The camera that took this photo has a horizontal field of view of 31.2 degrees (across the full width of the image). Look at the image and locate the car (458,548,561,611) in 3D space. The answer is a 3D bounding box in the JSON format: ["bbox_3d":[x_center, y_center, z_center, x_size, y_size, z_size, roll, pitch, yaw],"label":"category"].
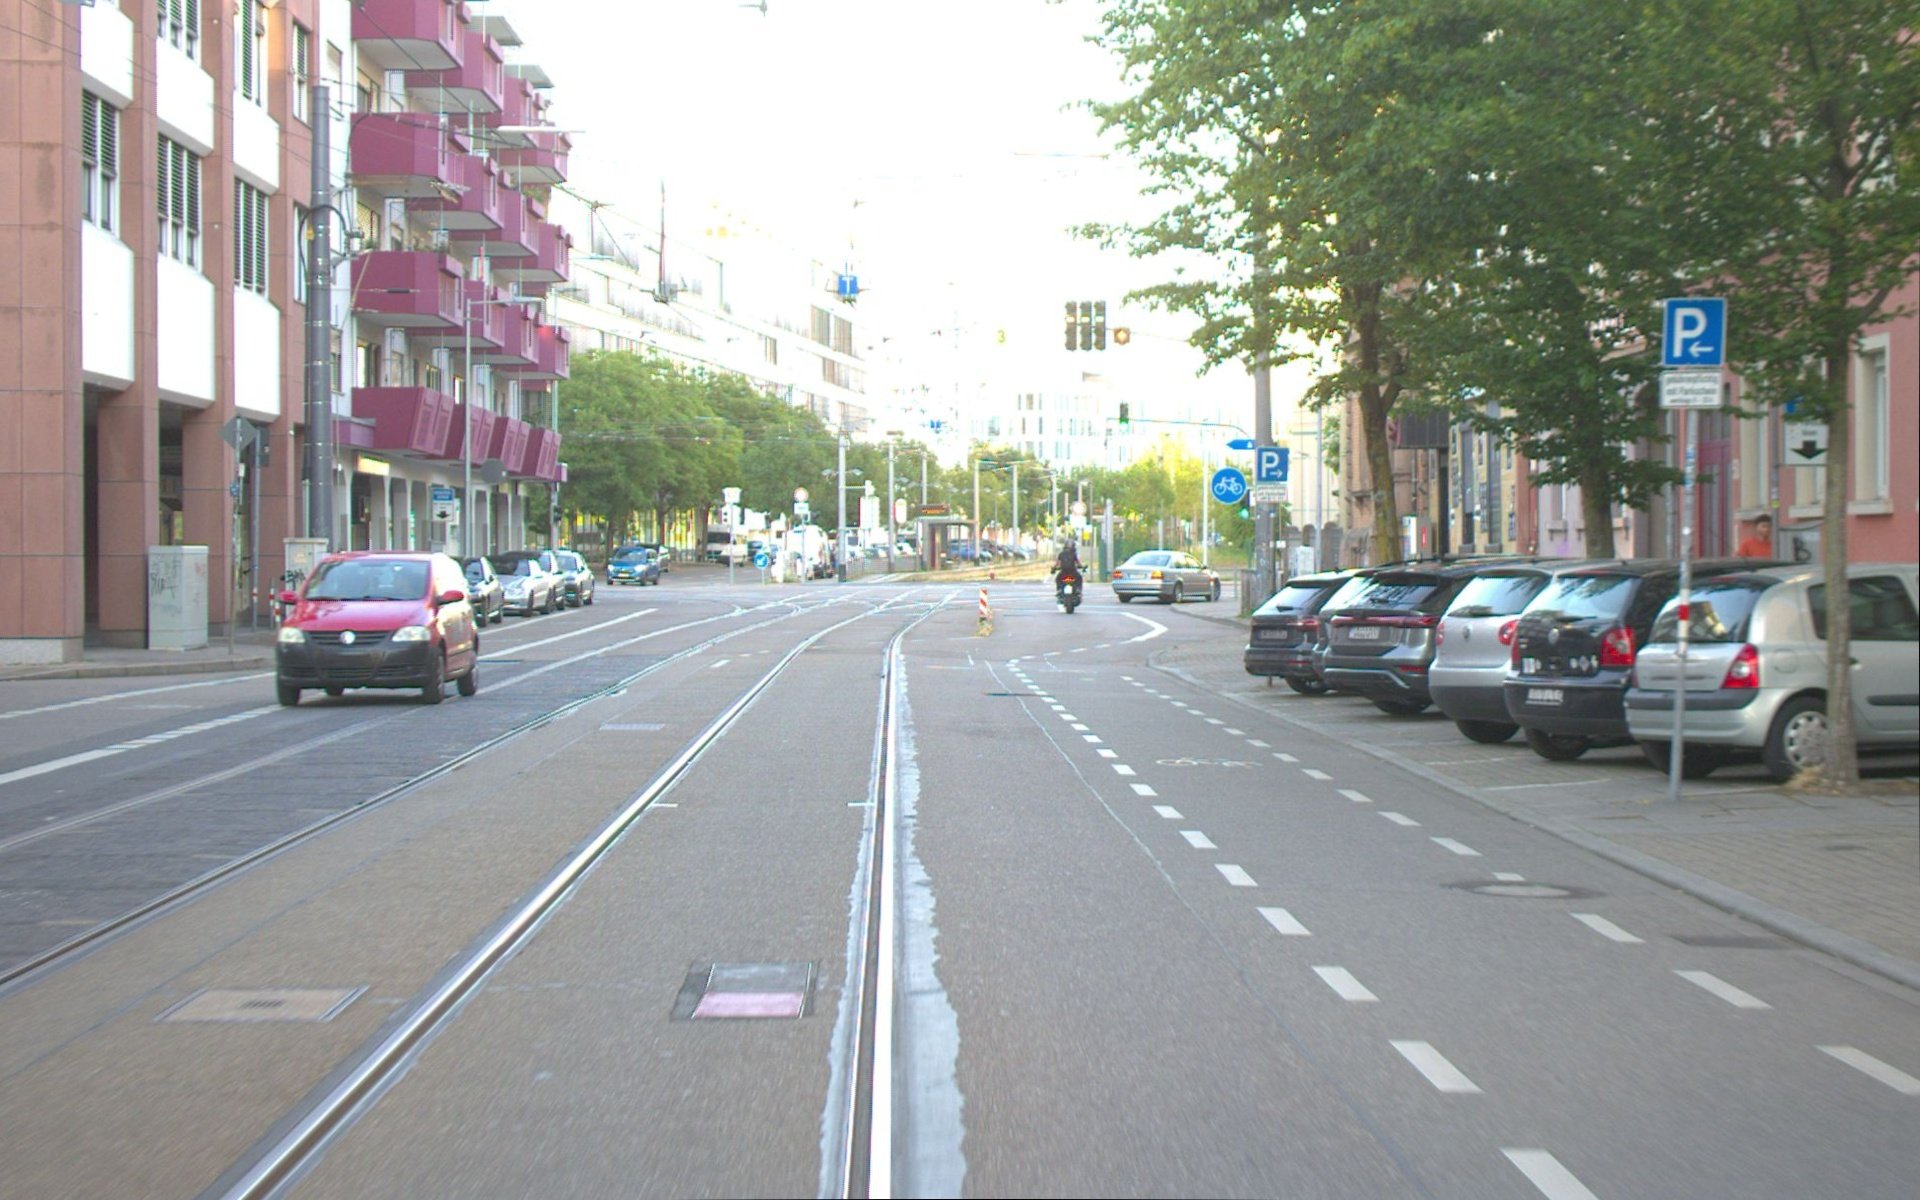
[{"bbox_3d":[-10.711,-0.504,81.977,1.691,1.409,4.677,2,1,1],"label":"car"}]

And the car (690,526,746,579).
[{"bbox_3d":[-14.535,-2.882,206.820,2.202,3.141,6.141,0,1,7],"label":"car"}]

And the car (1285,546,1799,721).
[{"bbox_3d":[5.577,0.277,32.969,4.443,1.511,2.064,-2,1,-24],"label":"car"}]

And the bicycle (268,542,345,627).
[{"bbox_3d":[-10.838,-0.277,57.068,0.609,1.373,2.258,0,1,7],"label":"bicycle"}]

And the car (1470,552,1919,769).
[{"bbox_3d":[5.692,0.396,25.112,3.554,1.424,1.669,-2,1,-26],"label":"car"}]

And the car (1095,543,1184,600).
[{"bbox_3d":[5.117,-0.816,97.540,1.718,1.550,4.201,1,1,14],"label":"car"}]

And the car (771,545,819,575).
[{"bbox_3d":[-7.880,-1.929,164.450,1.683,1.434,4.125,0,1,6],"label":"car"}]

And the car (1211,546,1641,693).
[{"bbox_3d":[5.294,0.192,38.930,4.604,1.452,1.711,-2,1,-25],"label":"car"}]

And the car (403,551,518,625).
[{"bbox_3d":[-10.742,-0.285,74.191,1.993,1.474,4.483,2,1,-3],"label":"car"}]

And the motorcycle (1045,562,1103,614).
[{"bbox_3d":[2.766,-0.299,83.611,0.828,1.236,2.492,0,1,-12],"label":"motorcycle"}]

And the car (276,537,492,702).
[{"bbox_3d":[-5.839,0.159,35.204,1.559,1.553,3.755,-1,1,0],"label":"car"}]

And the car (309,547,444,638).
[{"bbox_3d":[-10.494,-0.170,62.067,1.717,1.550,4.204,1,1,0],"label":"car"}]

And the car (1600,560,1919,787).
[{"bbox_3d":[6.238,0.459,23.004,3.481,1.424,1.621,-1,-1,-20],"label":"car"}]

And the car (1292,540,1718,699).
[{"bbox_3d":[5.656,0.189,35.677,3.986,1.487,1.831,-2,0,-25],"label":"car"}]

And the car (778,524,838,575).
[{"bbox_3d":[-7.486,-2.507,170.352,2.461,2.474,5.808,0,1,3],"label":"car"}]

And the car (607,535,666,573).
[{"bbox_3d":[-14.512,-2.069,154.468,1.683,1.694,4.238,0,1,8],"label":"car"}]

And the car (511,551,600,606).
[{"bbox_3d":[-10.977,-0.614,93.592,1.851,1.452,5.086,0,1,0],"label":"car"}]

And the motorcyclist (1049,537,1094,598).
[{"bbox_3d":[2.716,-0.801,83.833,0.828,1.468,1.207,0,1,-12],"label":"motorcyclist"}]

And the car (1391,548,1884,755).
[{"bbox_3d":[5.474,0.373,27.784,3.554,1.511,1.744,-2,1,-26],"label":"car"}]
